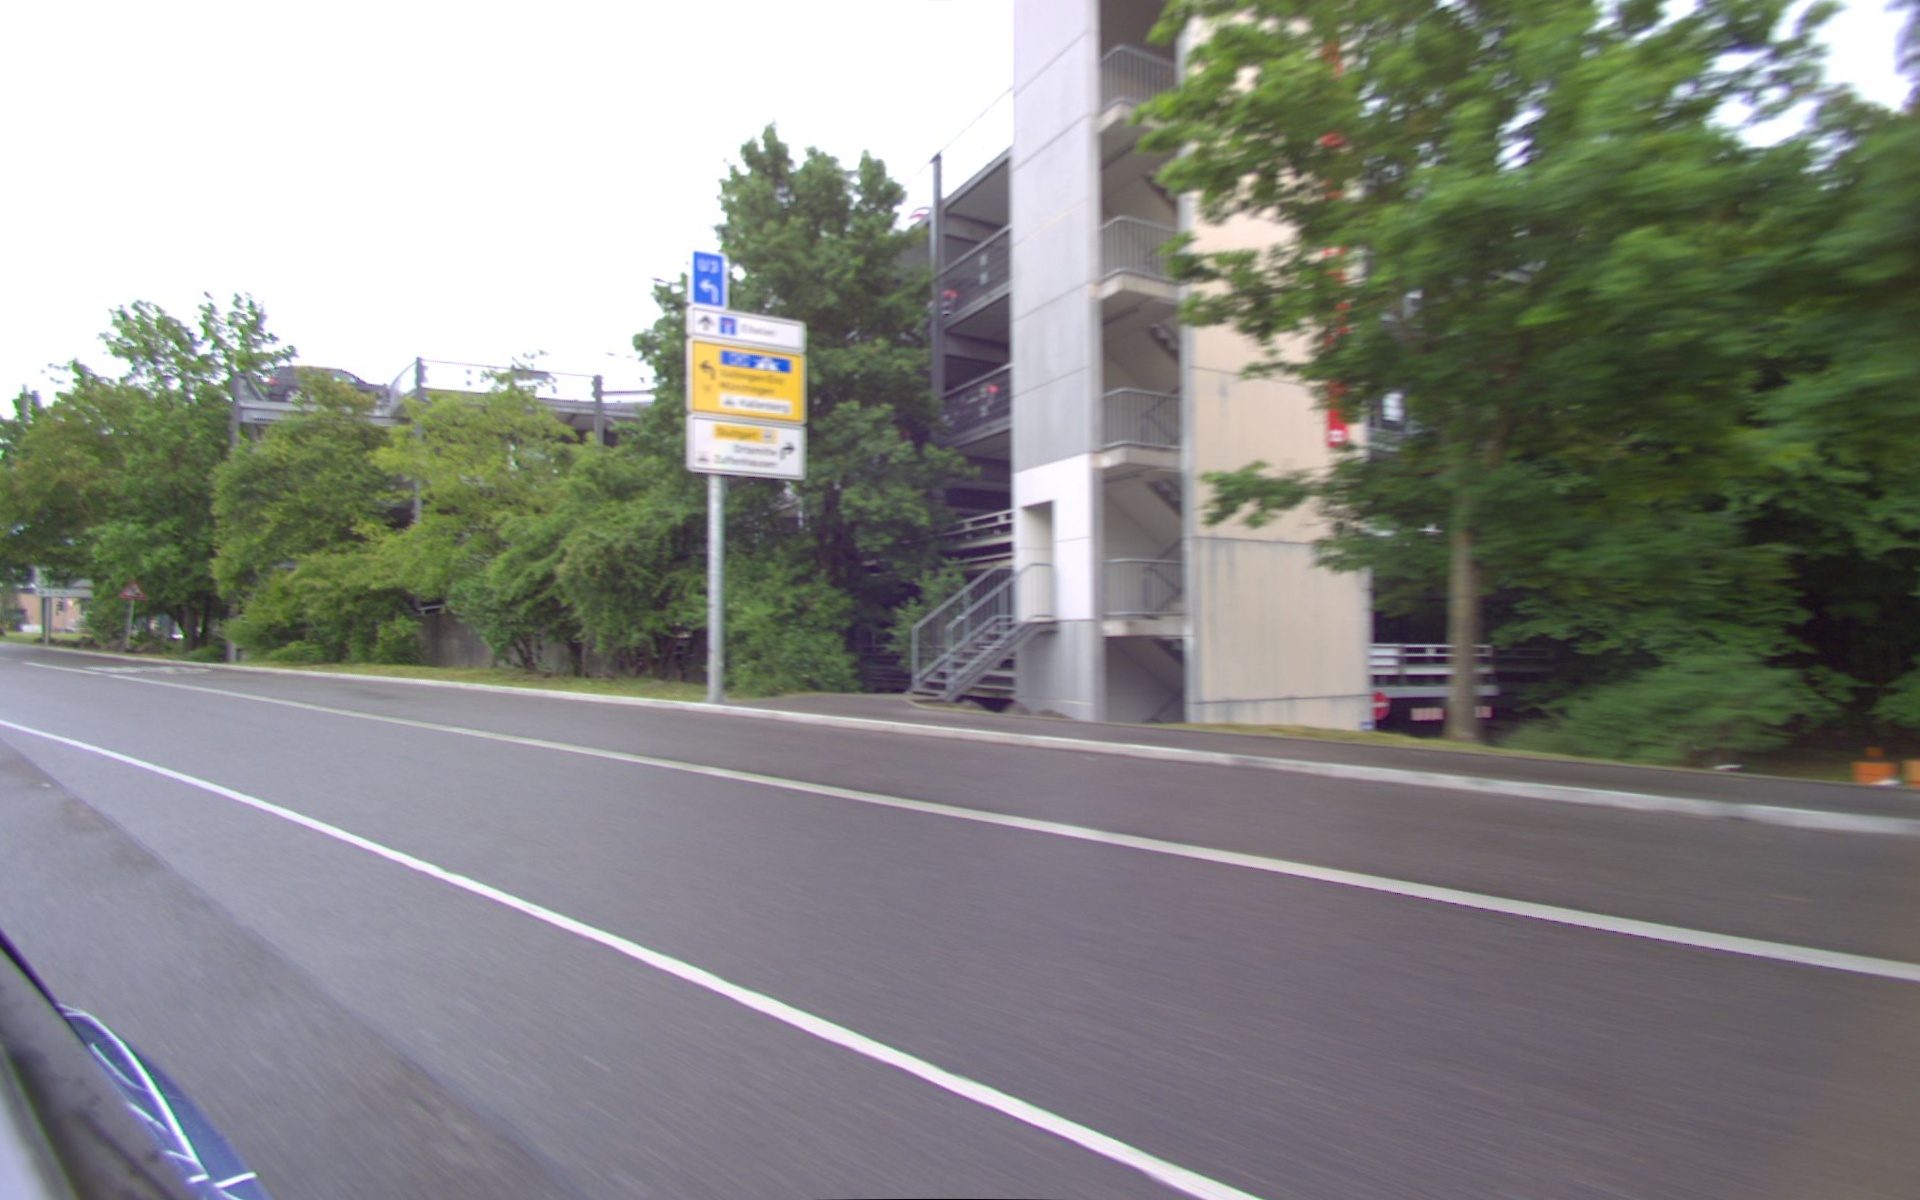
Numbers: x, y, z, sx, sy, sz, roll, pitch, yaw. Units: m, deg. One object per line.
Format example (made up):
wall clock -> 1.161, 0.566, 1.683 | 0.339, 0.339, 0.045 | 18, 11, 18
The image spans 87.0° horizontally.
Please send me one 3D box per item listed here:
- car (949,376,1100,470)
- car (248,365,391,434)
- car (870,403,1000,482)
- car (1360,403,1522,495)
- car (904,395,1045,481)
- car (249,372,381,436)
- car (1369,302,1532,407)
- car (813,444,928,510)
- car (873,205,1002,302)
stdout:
car -> 1.525, -4.090, 23.803 | 3.189, 1.530, 1.591 | 3, -3, -31
car -> -22.136, -6.907, 35.175 | 3.930, 1.530, 2.006 | 2, -3, -25
car -> -0.675, -4.274, 27.765 | 3.189, 1.530, 1.591 | 3, -3, -31
car -> 13.110, -4.029, 27.574 | 3.931, 1.785, 2.006 | 2, -4, -29
car -> 0.382, -4.034, 25.608 | 3.189, 1.530, 1.591 | 3, -3, -31
car -> -24.415, -7.399, 38.483 | 3.930, 1.530, 2.006 | 2, -3, -25
car -> 13.310, -6.581, 27.457 | 3.931, 1.785, 2.006 | 2, -4, -29
car -> -2.795, -3.803, 31.635 | 3.189, 1.530, 1.591 | 3, -3, -31
car -> -0.617, -9.592, 28.237 | 3.189, 1.530, 1.591 | 3, -3, -31
